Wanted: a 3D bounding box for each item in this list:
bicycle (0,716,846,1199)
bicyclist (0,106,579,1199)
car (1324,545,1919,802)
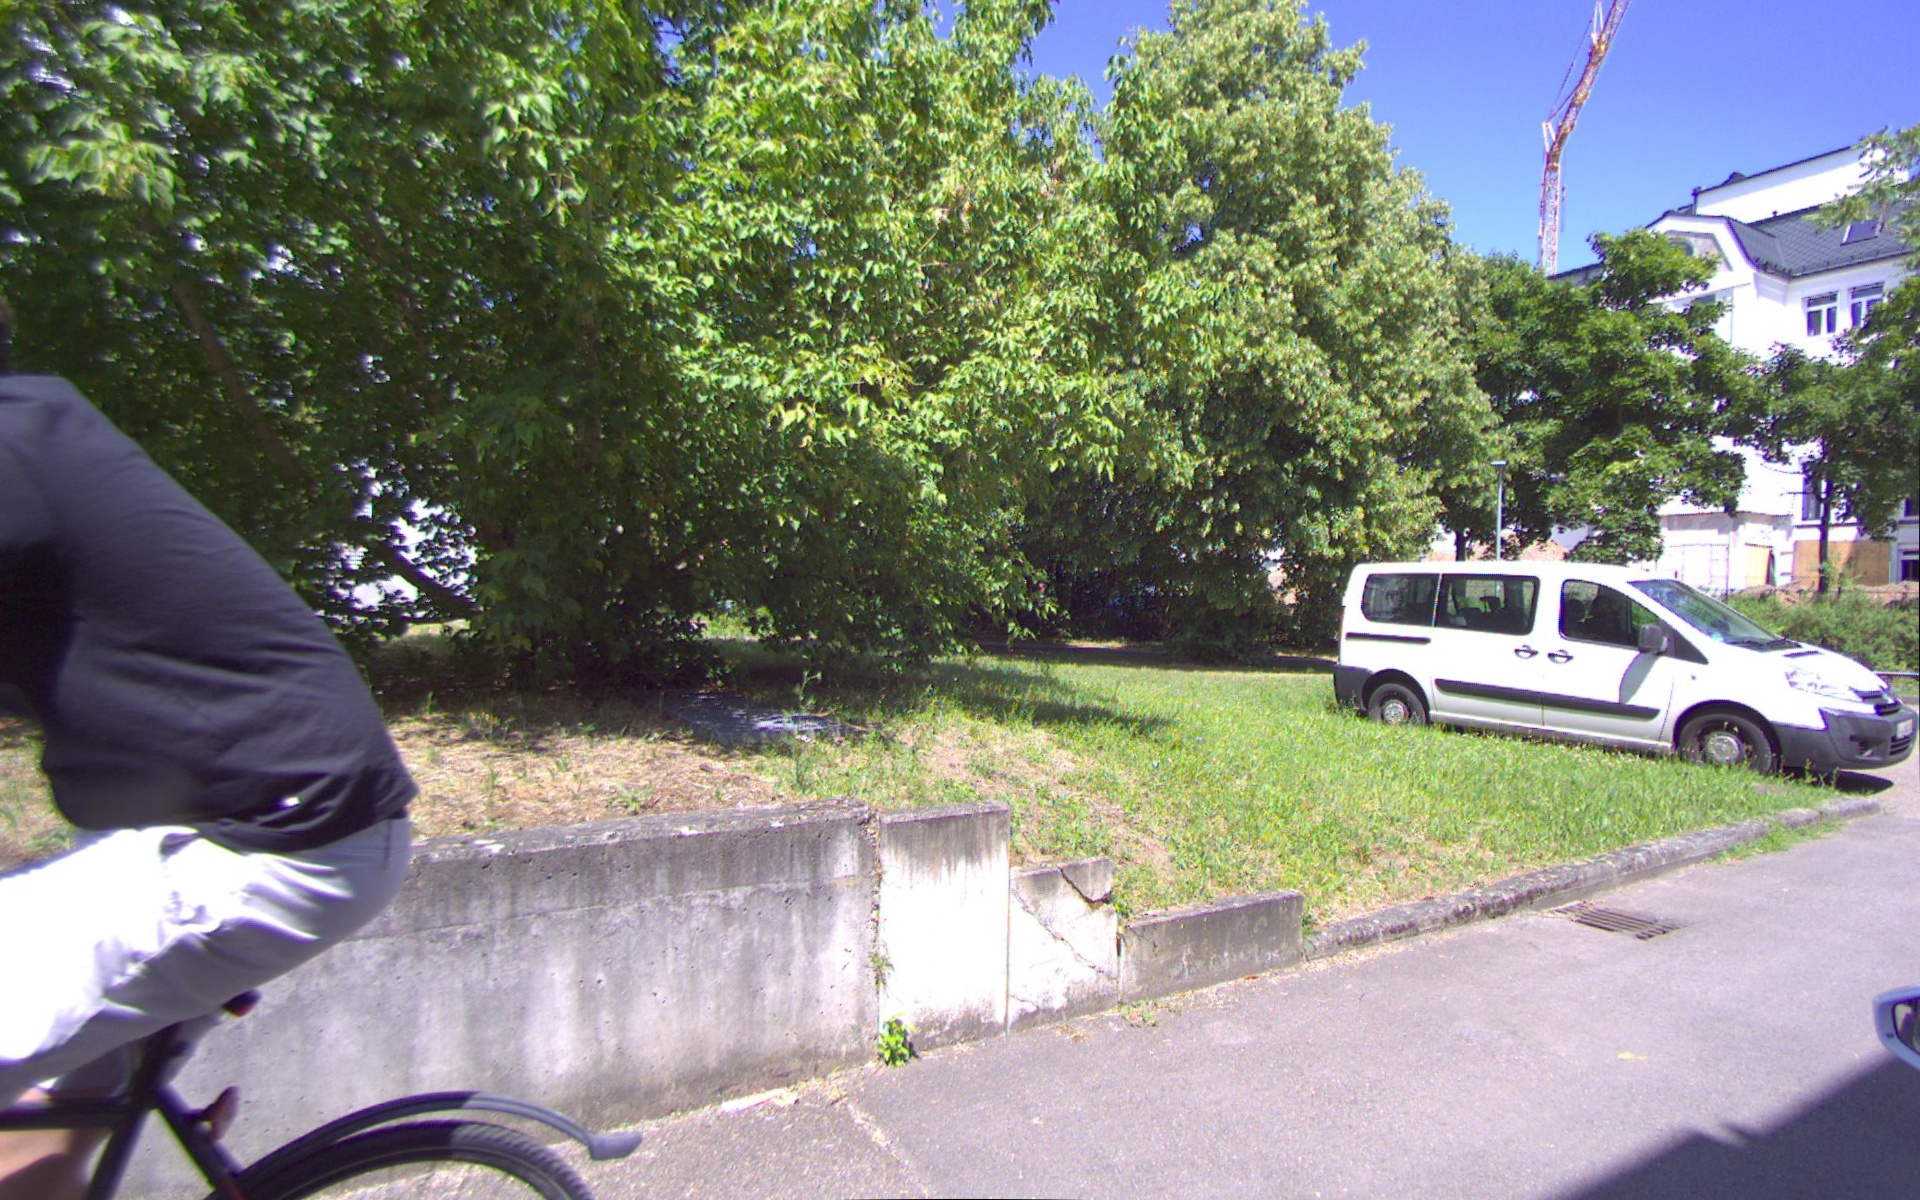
[{"bbox_3d":[-1.123,0.804,1.101,1.882,1.190,0.640,1,1,-31],"label":"bicycle"},{"bbox_3d":[-1.024,0.389,1.165,0.967,1.631,0.719,1,1,-30],"label":"bicyclist"},{"bbox_3d":[6.325,0.543,10.093,1.980,1.937,4.756,0,0,-35],"label":"car"}]
